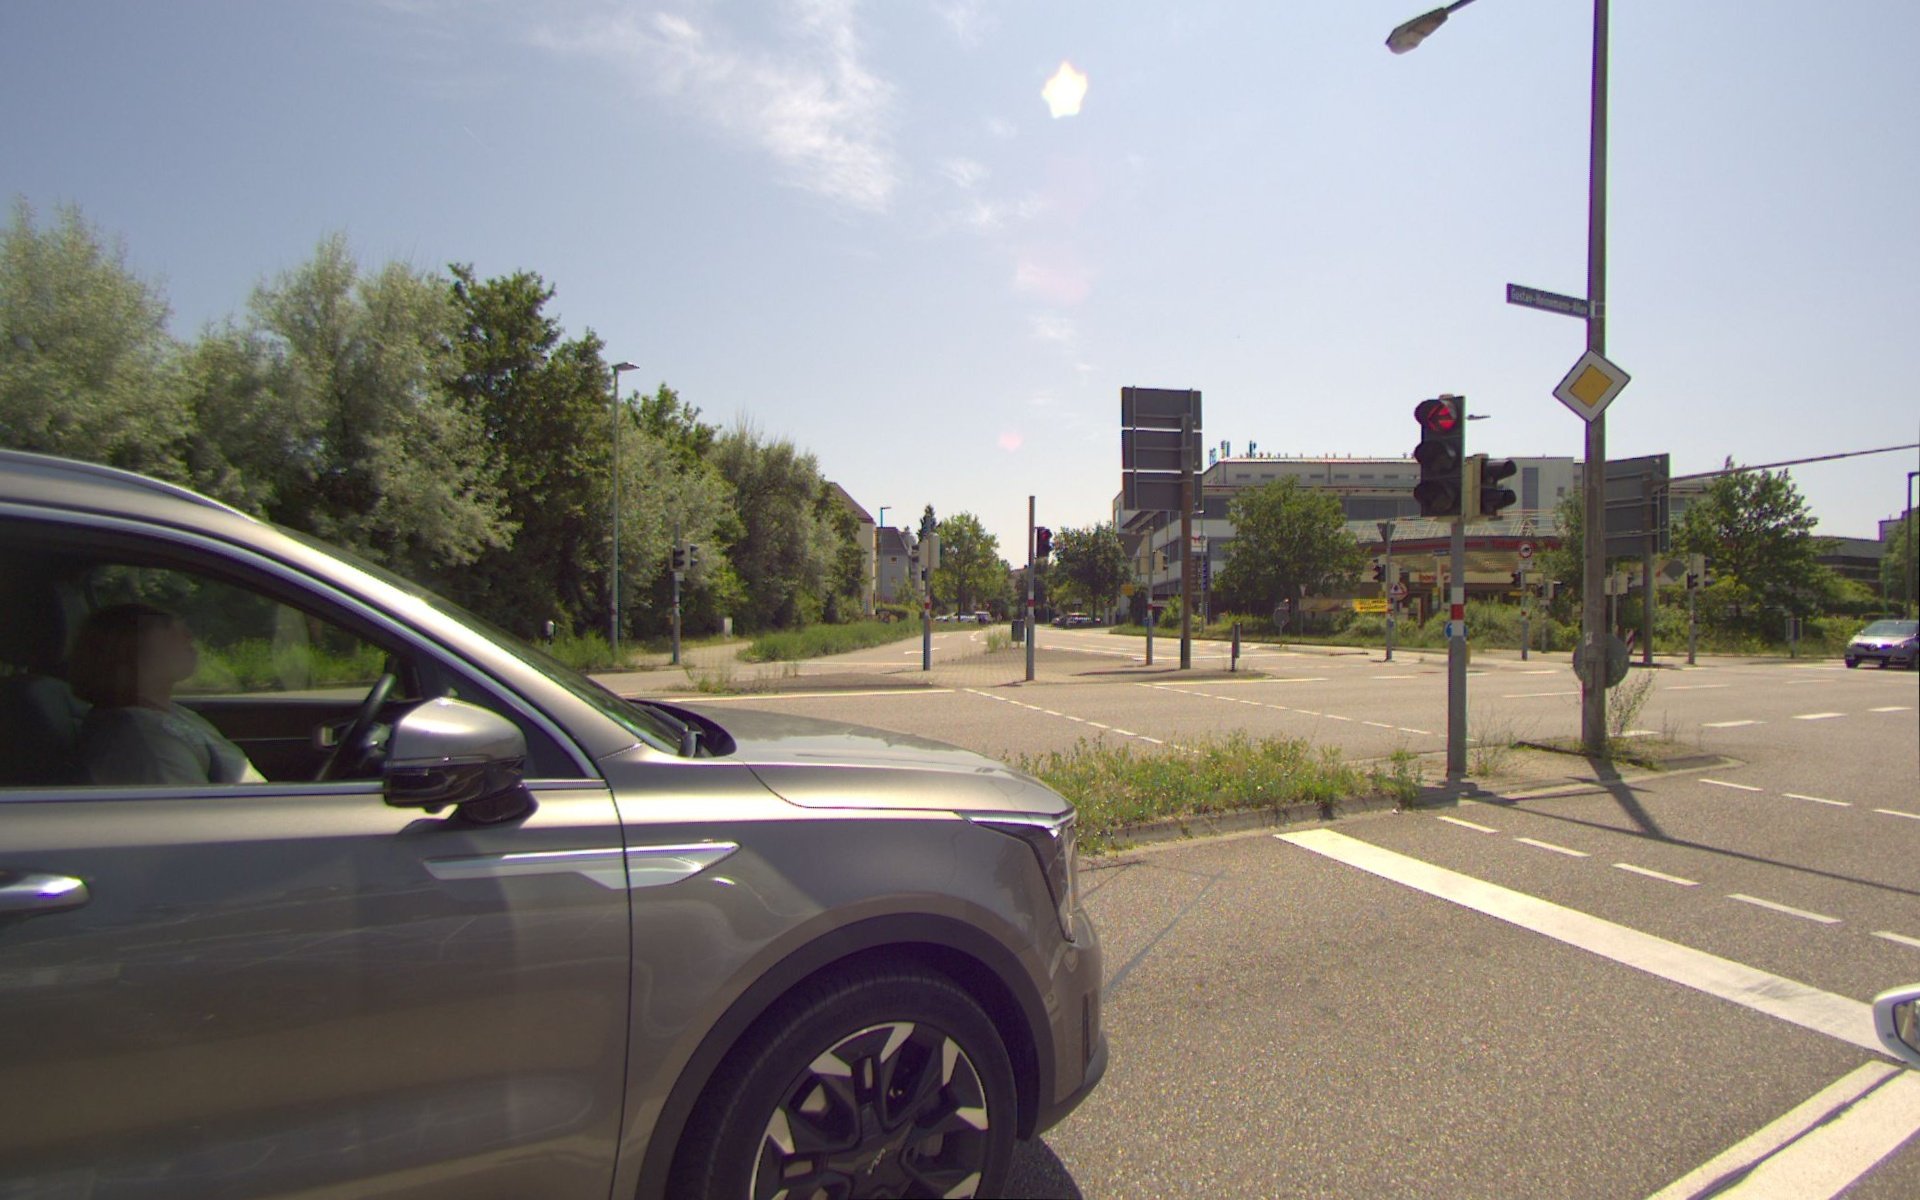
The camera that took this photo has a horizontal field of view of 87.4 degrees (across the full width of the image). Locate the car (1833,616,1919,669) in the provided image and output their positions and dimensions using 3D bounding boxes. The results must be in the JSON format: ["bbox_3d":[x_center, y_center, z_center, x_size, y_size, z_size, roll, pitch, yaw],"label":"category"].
[{"bbox_3d":[30.391,1.359,32.845,3.954,1.560,1.650,1,1,-31],"label":"car"}]

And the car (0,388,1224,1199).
[{"bbox_3d":[-1.714,0.577,2.054,4.480,1.690,1.771,1,-1,-31],"label":"car"}]
